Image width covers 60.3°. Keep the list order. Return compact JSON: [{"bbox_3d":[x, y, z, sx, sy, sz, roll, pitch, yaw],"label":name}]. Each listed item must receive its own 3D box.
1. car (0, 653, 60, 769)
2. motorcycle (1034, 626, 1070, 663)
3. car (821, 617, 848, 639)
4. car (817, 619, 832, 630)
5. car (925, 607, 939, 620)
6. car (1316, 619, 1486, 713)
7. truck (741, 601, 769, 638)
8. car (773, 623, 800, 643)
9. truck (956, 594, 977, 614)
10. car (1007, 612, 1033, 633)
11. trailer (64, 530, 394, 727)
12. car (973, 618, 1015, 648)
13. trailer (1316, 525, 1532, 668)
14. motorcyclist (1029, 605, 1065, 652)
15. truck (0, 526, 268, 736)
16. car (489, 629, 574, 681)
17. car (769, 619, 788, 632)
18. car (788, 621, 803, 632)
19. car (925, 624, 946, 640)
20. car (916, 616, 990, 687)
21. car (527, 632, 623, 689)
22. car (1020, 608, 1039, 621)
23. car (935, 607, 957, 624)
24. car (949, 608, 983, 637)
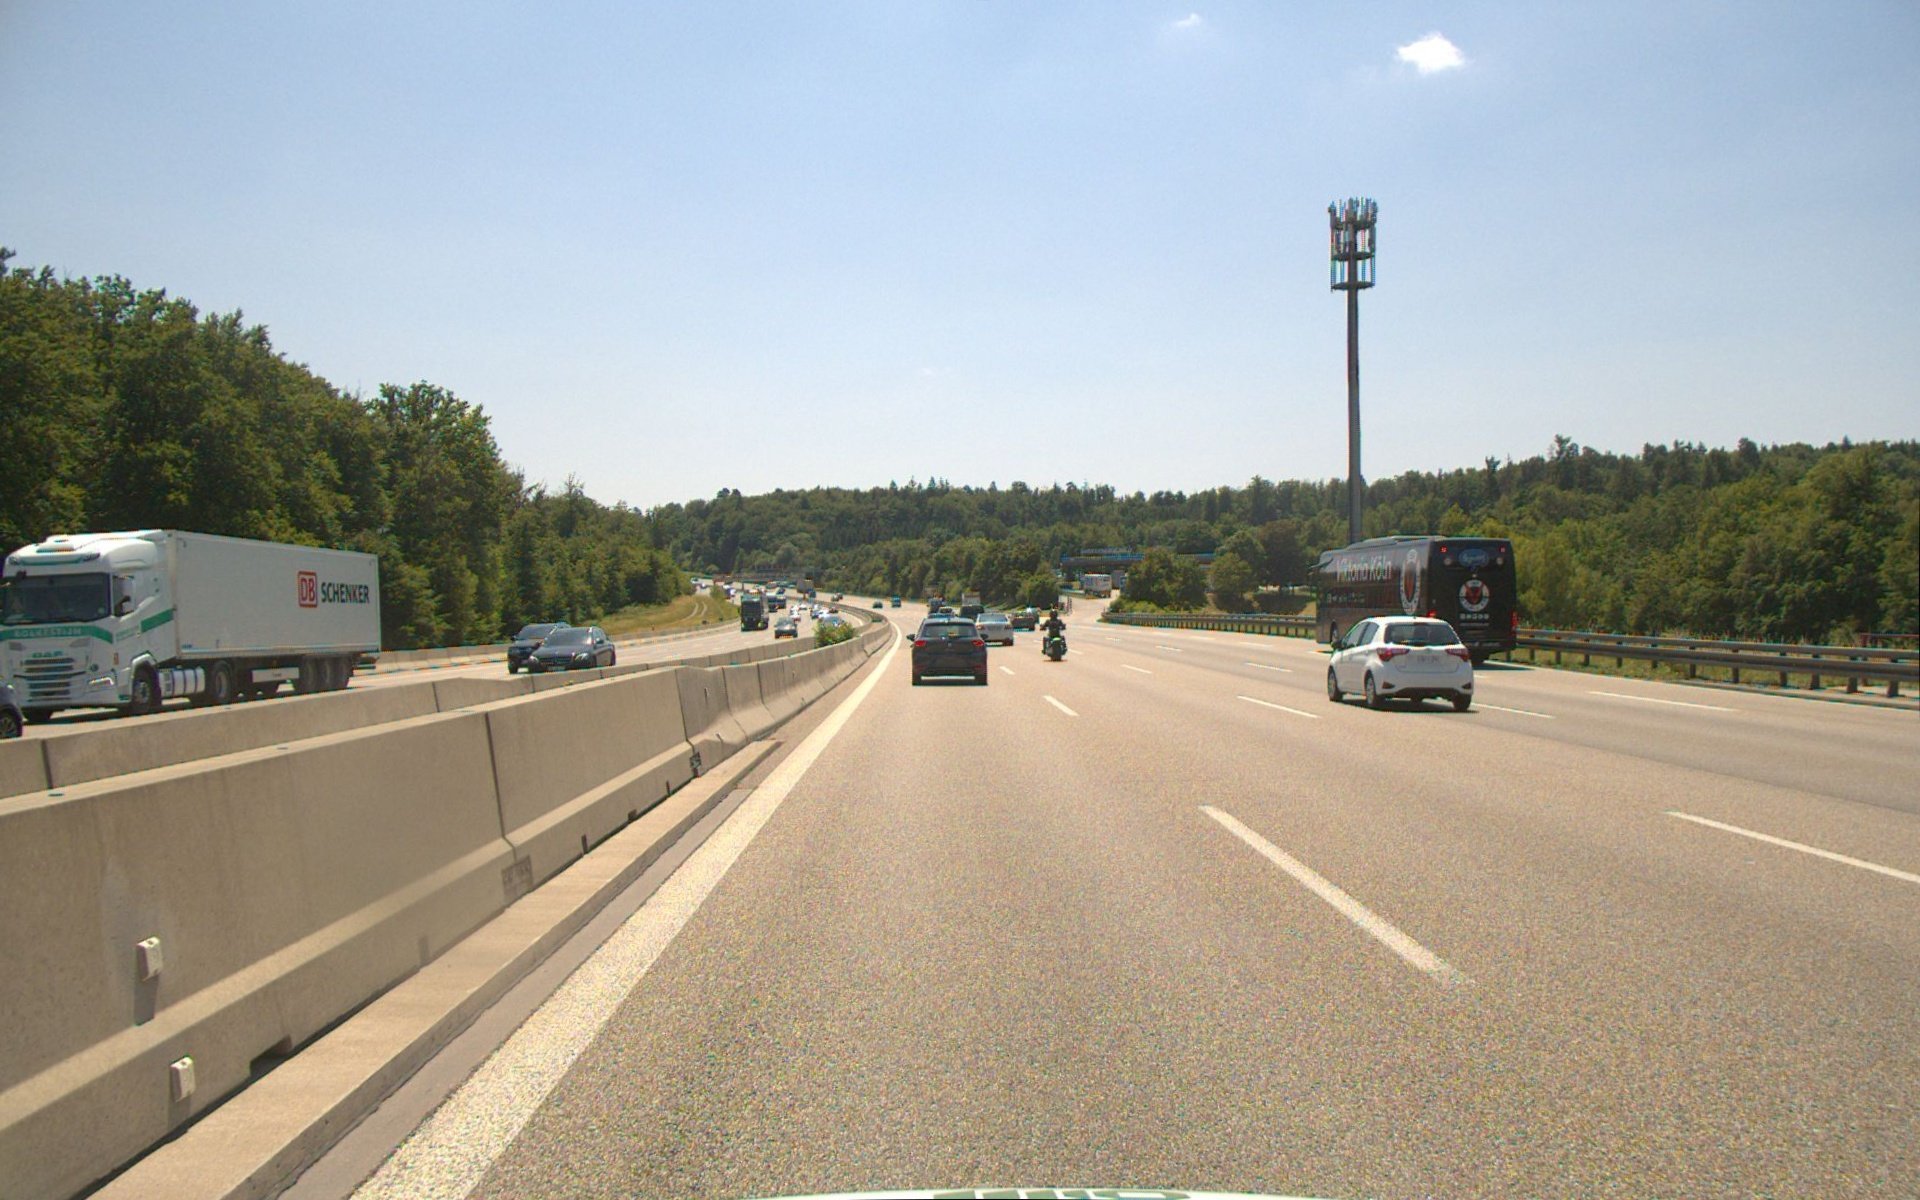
[{"bbox_3d":[-13.647,1.534,21.274,1.761,1.507,4.396,-3,0,-1],"label":"car"},{"bbox_3d":[2.993,1.440,54.057,0.958,1.149,2.270,-2,0,-2],"label":"motorcycle"},{"bbox_3d":[-10.001,2.232,131.805,1.795,1.595,4.784,-2,0,-1],"label":"car"},{"bbox_3d":[-18.705,3.378,228.428,1.795,1.589,4.774,1,-1,-2],"label":"car"},{"bbox_3d":[-4.341,2.094,256.451,1.955,2.049,4.669,0,0,-5],"label":"car"},{"bbox_3d":[7.457,1.065,28.383,1.632,1.459,4.374,-1,-1,-2],"label":"car"},{"bbox_3d":[-23.525,2.259,189.776,2.604,4.096,5.507,-2,-1,-3],"label":"truck"},{"bbox_3d":[-13.854,2.660,132.044,1.731,1.504,4.480,-2,-1,-1],"label":"car"},{"bbox_3d":[0.917,0.621,243.562,2.673,2.835,5.677,0,0,-5],"label":"truck"},{"bbox_3d":[4.328,1.602,119.596,1.641,1.457,3.684,1,-1,-1],"label":"car"},{"bbox_3d":[-18.902,0.689,44.372,2.589,4.298,14.357,-3,0,-1],"label":"trailer"},{"bbox_3d":[1.530,1.491,75.264,1.746,1.287,3.459,-1,0,-1],"label":"car"},{"bbox_3d":[13.894,0.006,51.080,2.799,3.752,13.541,-2,-1,0],"label":"trailer"},{"bbox_3d":[2.833,0.913,54.040,0.943,1.462,1.233,-2,0,-5],"label":"motorcyclist"},{"bbox_3d":[-18.786,0.673,37.734,2.660,4.171,7.874,-3,0,-1],"label":"truck"},{"bbox_3d":[-15.416,1.950,59.785,1.761,1.671,5.077,-3,-1,-1],"label":"car"},{"bbox_3d":[-20.155,2.816,183.806,1.795,1.324,4.727,-1,0,-2],"label":"car"},{"bbox_3d":[-24.540,3.992,246.611,1.835,1.561,4.133,-3,-1,-3],"label":"car"},{"bbox_3d":[-2.042,2.579,135.200,1.506,1.233,3.457,-2,-1,-4],"label":"car"},{"bbox_3d":[-0.169,1.147,37.202,1.591,1.513,3.684,0,-1,-1],"label":"car"},{"bbox_3d":[-11.213,1.728,48.441,1.761,1.507,4.719,-1,0,-1],"label":"car"},{"bbox_3d":[6.719,1.383,160.209,1.576,1.233,3.458,-2,-1,-2],"label":"car"},{"bbox_3d":[-1.493,1.682,176.409,1.955,1.713,4.419,0,0,-5],"label":"car"},{"bbox_3d":[0.388,1.556,115.356,2.056,1.884,4.077,-1,0,-4],"label":"car"}]
